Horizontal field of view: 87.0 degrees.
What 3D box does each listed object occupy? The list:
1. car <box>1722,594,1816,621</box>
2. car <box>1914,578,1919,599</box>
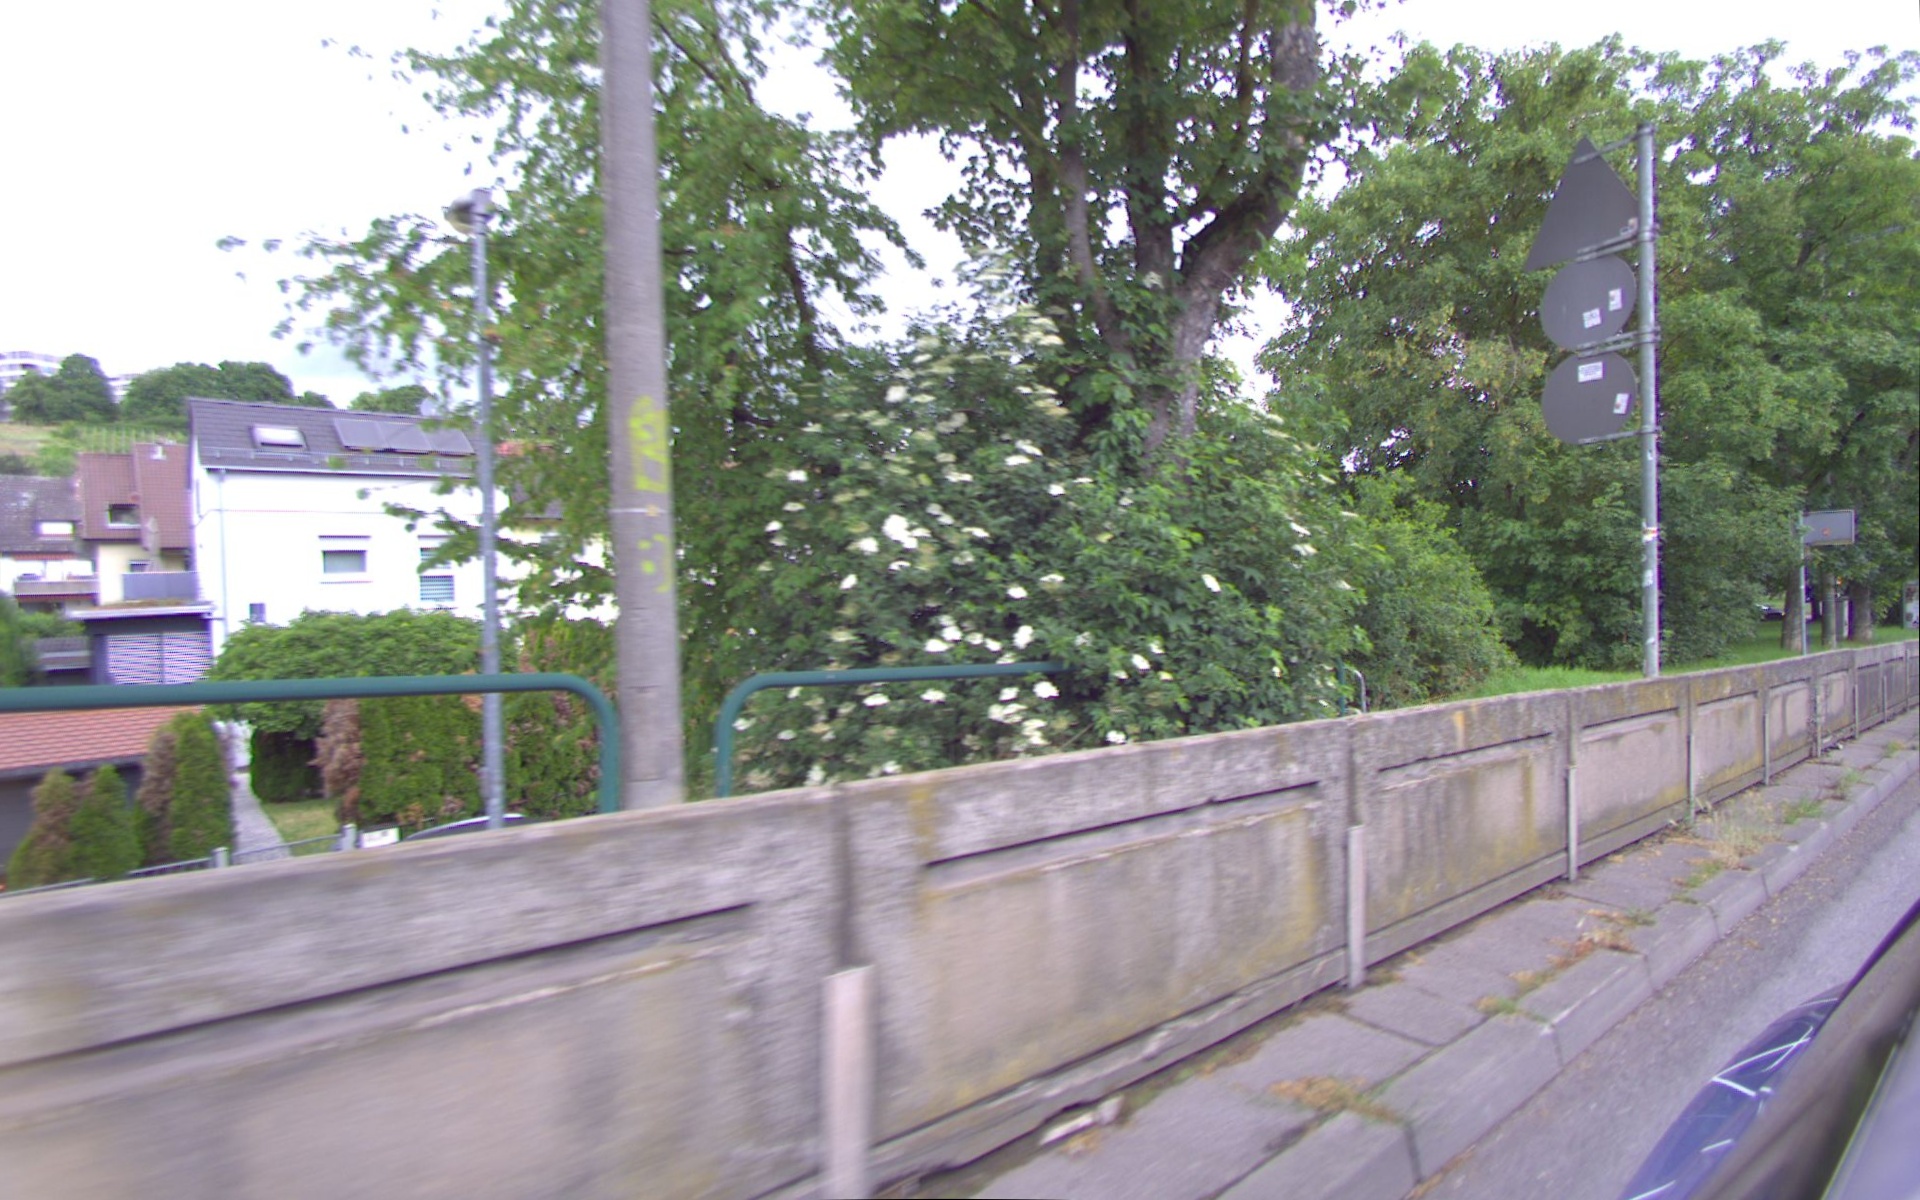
[{"bbox_3d":[49.638,0.405,62.164,1.671,1.545,4.169,-2,1,-31],"label":"car"},{"bbox_3d":[80.288,-0.950,81.923,4.183,1.718,1.818,0,1,34],"label":"car"}]
